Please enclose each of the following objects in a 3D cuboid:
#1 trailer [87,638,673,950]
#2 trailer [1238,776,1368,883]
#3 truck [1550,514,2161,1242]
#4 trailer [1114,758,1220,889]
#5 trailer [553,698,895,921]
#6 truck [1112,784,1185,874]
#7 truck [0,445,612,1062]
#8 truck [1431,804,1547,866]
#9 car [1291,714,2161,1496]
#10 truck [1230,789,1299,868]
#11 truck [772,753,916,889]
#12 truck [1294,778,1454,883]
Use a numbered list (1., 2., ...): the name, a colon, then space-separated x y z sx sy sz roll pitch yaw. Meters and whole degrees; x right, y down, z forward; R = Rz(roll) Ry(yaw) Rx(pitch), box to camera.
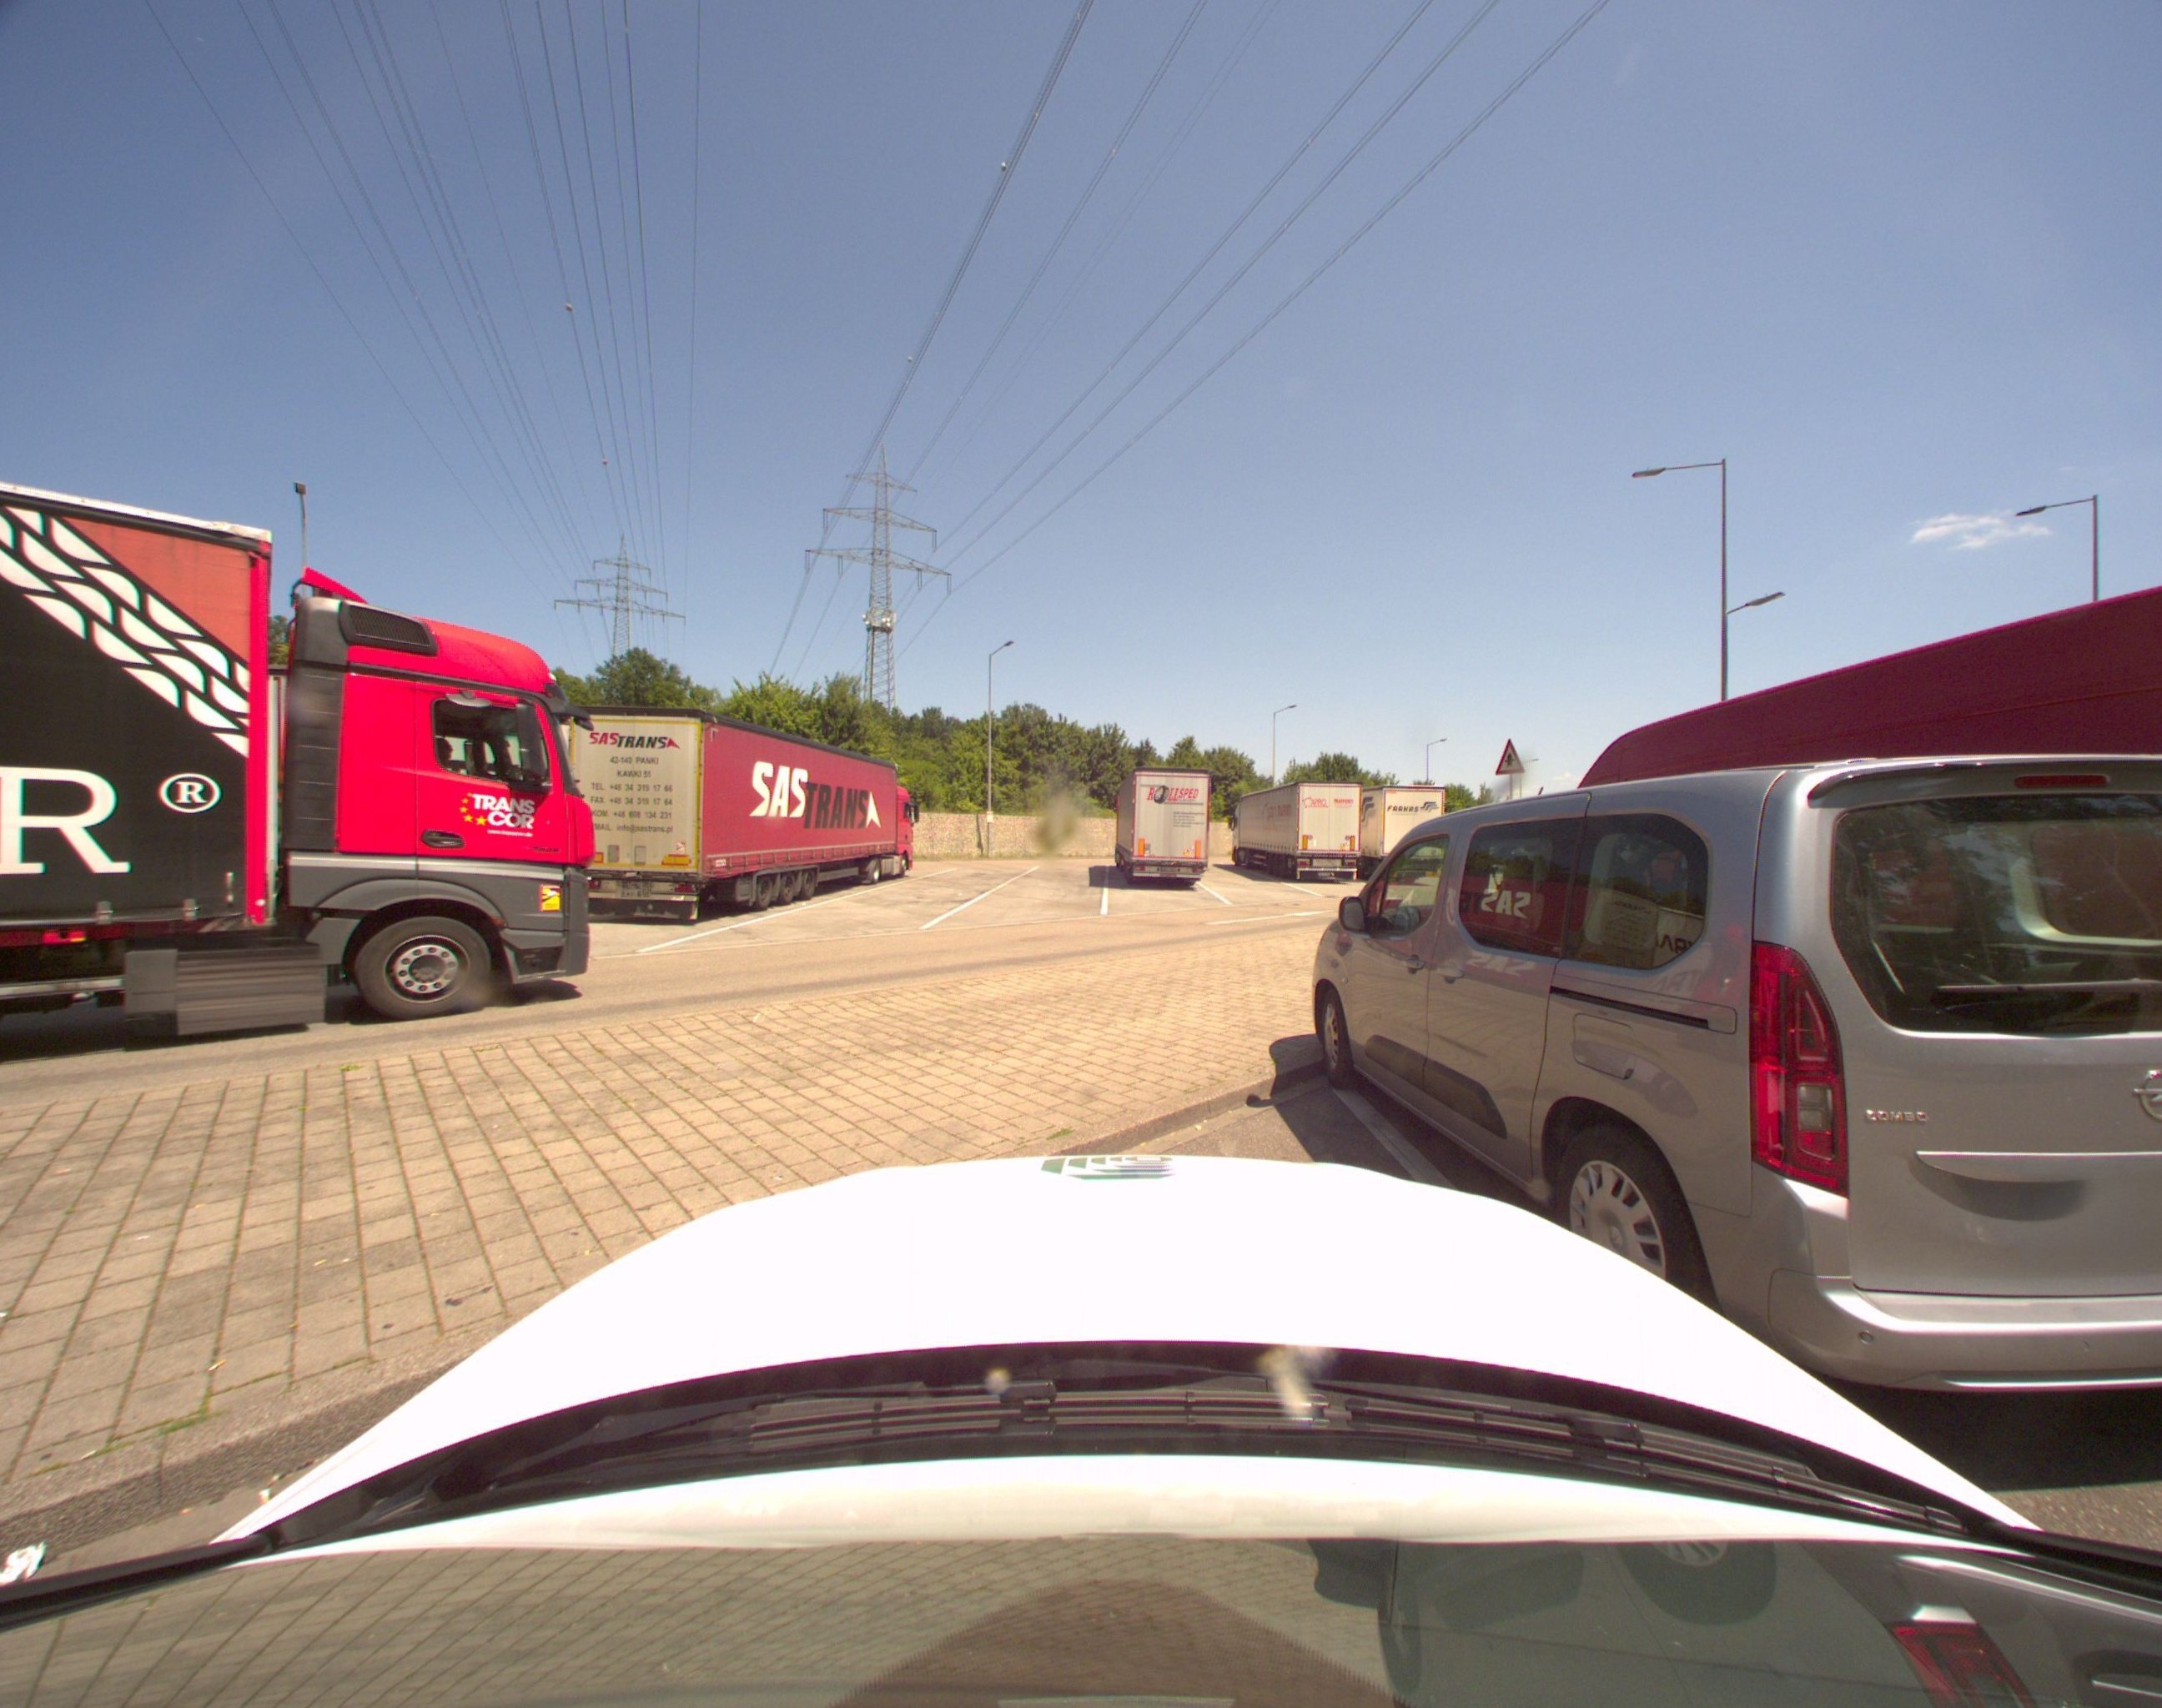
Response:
1. trailer: -12.101 -0.897 16.081 2.734 4.263 9.740 0 1 3
2. trailer: 9.937 -1.067 38.421 2.865 4.124 13.577 0 1 2
3. truck: 5.099 0.048 4.883 1.983 2.623 5.312 -1 1 6
4. trailer: 3.042 -1.188 32.749 3.059 4.227 12.811 1 2 1
5. trailer: -8.049 -0.919 21.521 2.739 4.057 13.292 -1 1 2
6. truck: 3.124 -1.222 39.521 3.016 3.928 6.848 1 2 1
7. truck: -9.360 -0.650 5.200 2.660 4.127 10.667 0 1 45
8. truck: 24.459 -1.129 49.447 3.013 3.437 8.534 -1 1 2
9. car: 2.469 0.527 3.861 1.821 1.753 3.998 -1 1 -2
10. truck: 10.124 -1.394 45.423 2.747 4.124 5.286 -1 1 2
11. truck: -7.841 -1.052 28.025 2.733 4.081 6.832 -1 1 1
12. truck: 13.572 -1.058 39.665 2.894 4.124 14.533 2 1 2
